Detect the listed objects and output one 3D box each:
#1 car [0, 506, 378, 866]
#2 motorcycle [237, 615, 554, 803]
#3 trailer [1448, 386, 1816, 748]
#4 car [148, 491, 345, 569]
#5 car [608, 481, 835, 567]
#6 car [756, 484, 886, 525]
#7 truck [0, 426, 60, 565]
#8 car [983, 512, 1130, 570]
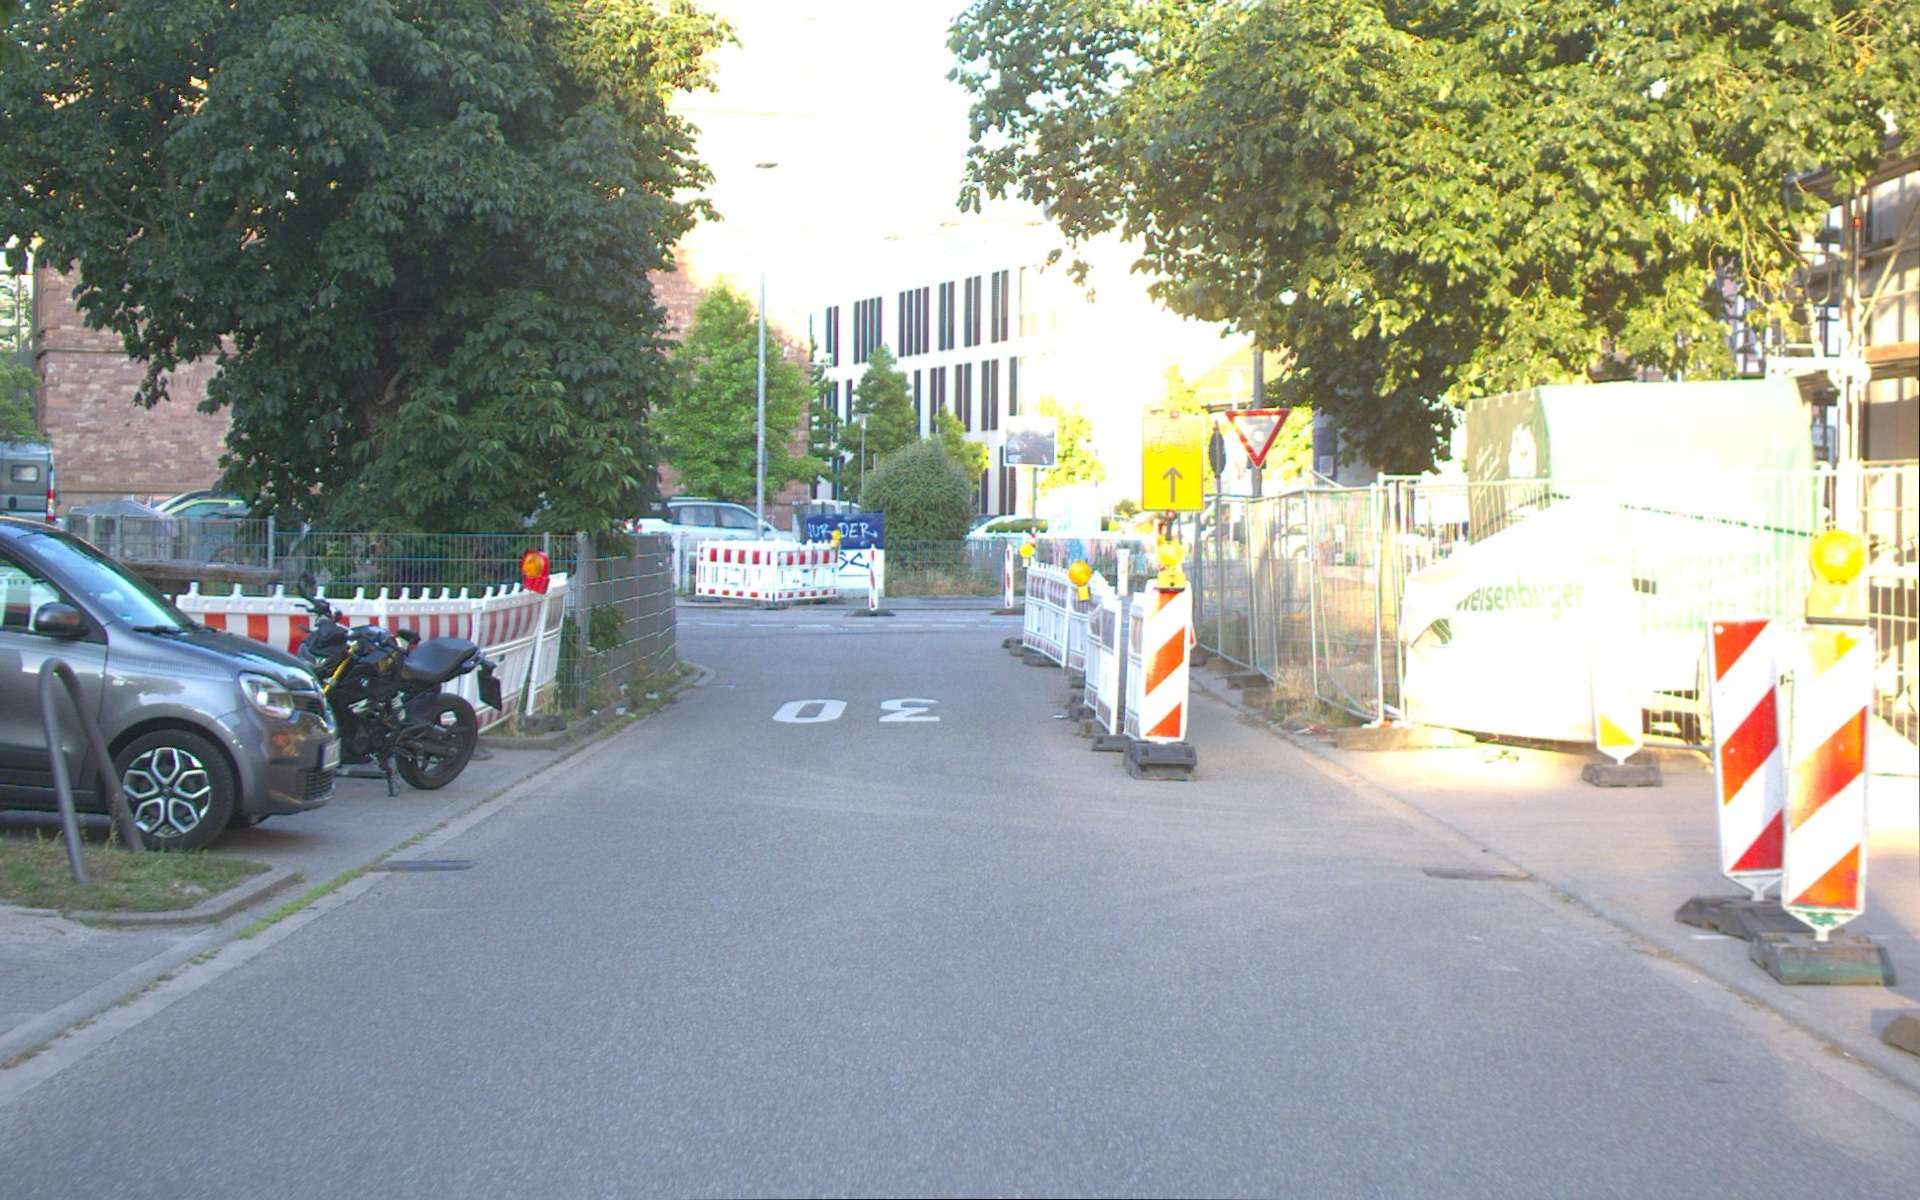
[{"bbox_3d":[-4.824,0.322,16.725,3.623,1.551,1.693,4,1,0],"label":"car"},{"bbox_3d":[-3.285,0.616,20.243,0.538,1.017,2.208,4,2,29],"label":"motorcycle"},{"bbox_3d":[5.032,-0.295,26.322,1.993,2.531,4.186,1,2,1],"label":"trailer"},{"bbox_3d":[-13.898,-1.363,66.913,3.630,1.498,1.638,0,2,-16],"label":"car"},{"bbox_3d":[-4.826,-1.535,69.396,4.268,1.703,1.703,0,2,-19],"label":"car"},{"bbox_3d":[-4.685,-3.188,115.509,3.986,1.308,1.878,0,0,-19],"label":"car"},{"bbox_3d":[-18.867,-2.049,67.018,2.333,2.608,4.975,0,2,-17],"label":"truck"},{"bbox_3d":[2.712,-1.662,96.832,3.739,1.597,1.687,0,1,-21],"label":"car"}]
